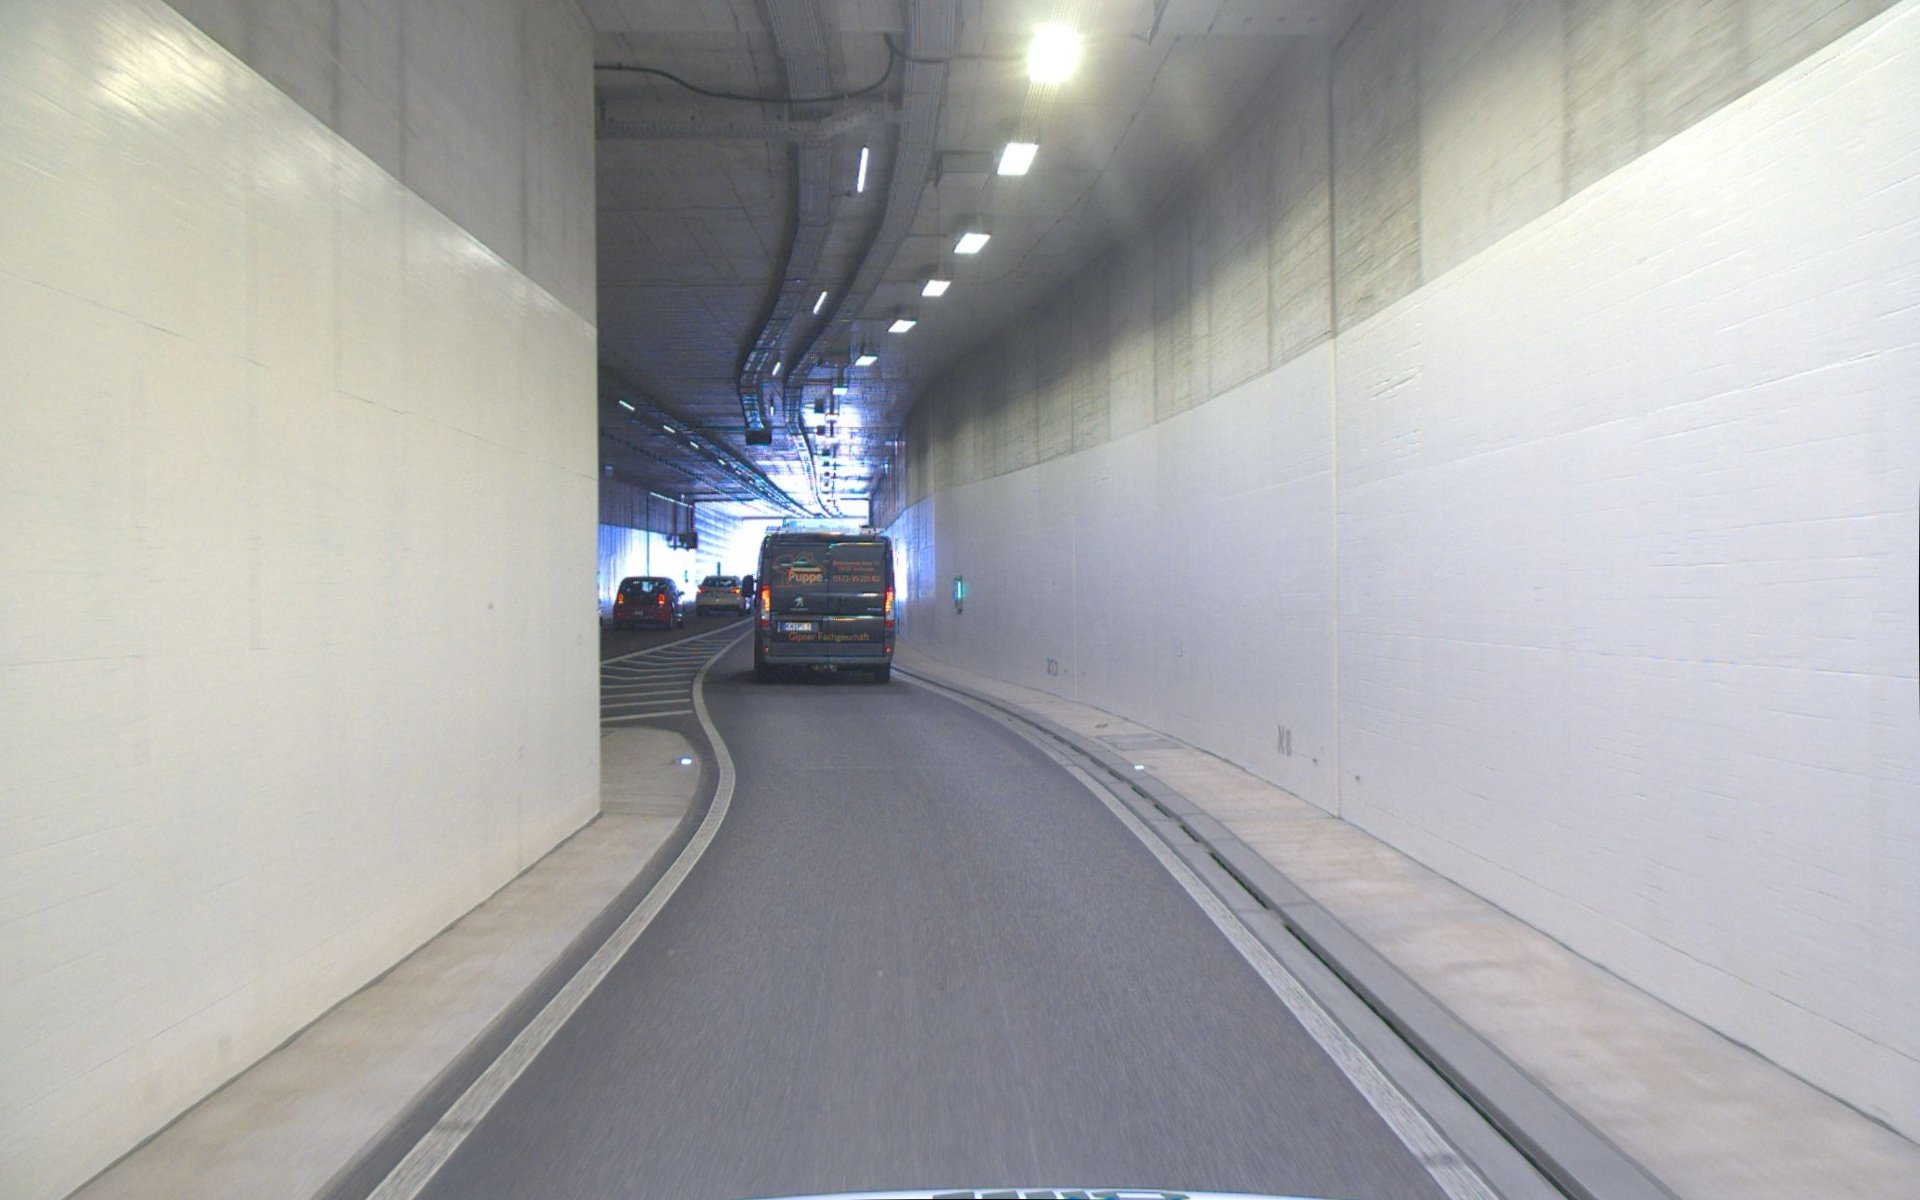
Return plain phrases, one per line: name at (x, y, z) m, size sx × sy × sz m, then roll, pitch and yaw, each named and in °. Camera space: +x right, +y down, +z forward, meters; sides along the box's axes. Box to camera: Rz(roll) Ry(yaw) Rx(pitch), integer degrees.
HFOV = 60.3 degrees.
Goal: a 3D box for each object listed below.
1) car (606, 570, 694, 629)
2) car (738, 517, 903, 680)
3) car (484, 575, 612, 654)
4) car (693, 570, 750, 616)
car at (-8.725, -0.052, 46.858) m, size 1.778 × 1.538 × 4.219 m, roll 1°, pitch 1°, yaw -2°
car at (-2.292, -0.071, 25.920) m, size 2.119 × 2.305 × 4.625 m, roll 1°, pitch 1°, yaw -11°
car at (-8.128, 0.239, 32.940) m, size 1.675 × 1.438 × 3.973 m, roll 2°, pitch 1°, yaw -2°
car at (-8.809, -0.235, 61.313) m, size 1.840 × 1.609 × 4.215 m, roll 1°, pitch 0°, yaw -5°
